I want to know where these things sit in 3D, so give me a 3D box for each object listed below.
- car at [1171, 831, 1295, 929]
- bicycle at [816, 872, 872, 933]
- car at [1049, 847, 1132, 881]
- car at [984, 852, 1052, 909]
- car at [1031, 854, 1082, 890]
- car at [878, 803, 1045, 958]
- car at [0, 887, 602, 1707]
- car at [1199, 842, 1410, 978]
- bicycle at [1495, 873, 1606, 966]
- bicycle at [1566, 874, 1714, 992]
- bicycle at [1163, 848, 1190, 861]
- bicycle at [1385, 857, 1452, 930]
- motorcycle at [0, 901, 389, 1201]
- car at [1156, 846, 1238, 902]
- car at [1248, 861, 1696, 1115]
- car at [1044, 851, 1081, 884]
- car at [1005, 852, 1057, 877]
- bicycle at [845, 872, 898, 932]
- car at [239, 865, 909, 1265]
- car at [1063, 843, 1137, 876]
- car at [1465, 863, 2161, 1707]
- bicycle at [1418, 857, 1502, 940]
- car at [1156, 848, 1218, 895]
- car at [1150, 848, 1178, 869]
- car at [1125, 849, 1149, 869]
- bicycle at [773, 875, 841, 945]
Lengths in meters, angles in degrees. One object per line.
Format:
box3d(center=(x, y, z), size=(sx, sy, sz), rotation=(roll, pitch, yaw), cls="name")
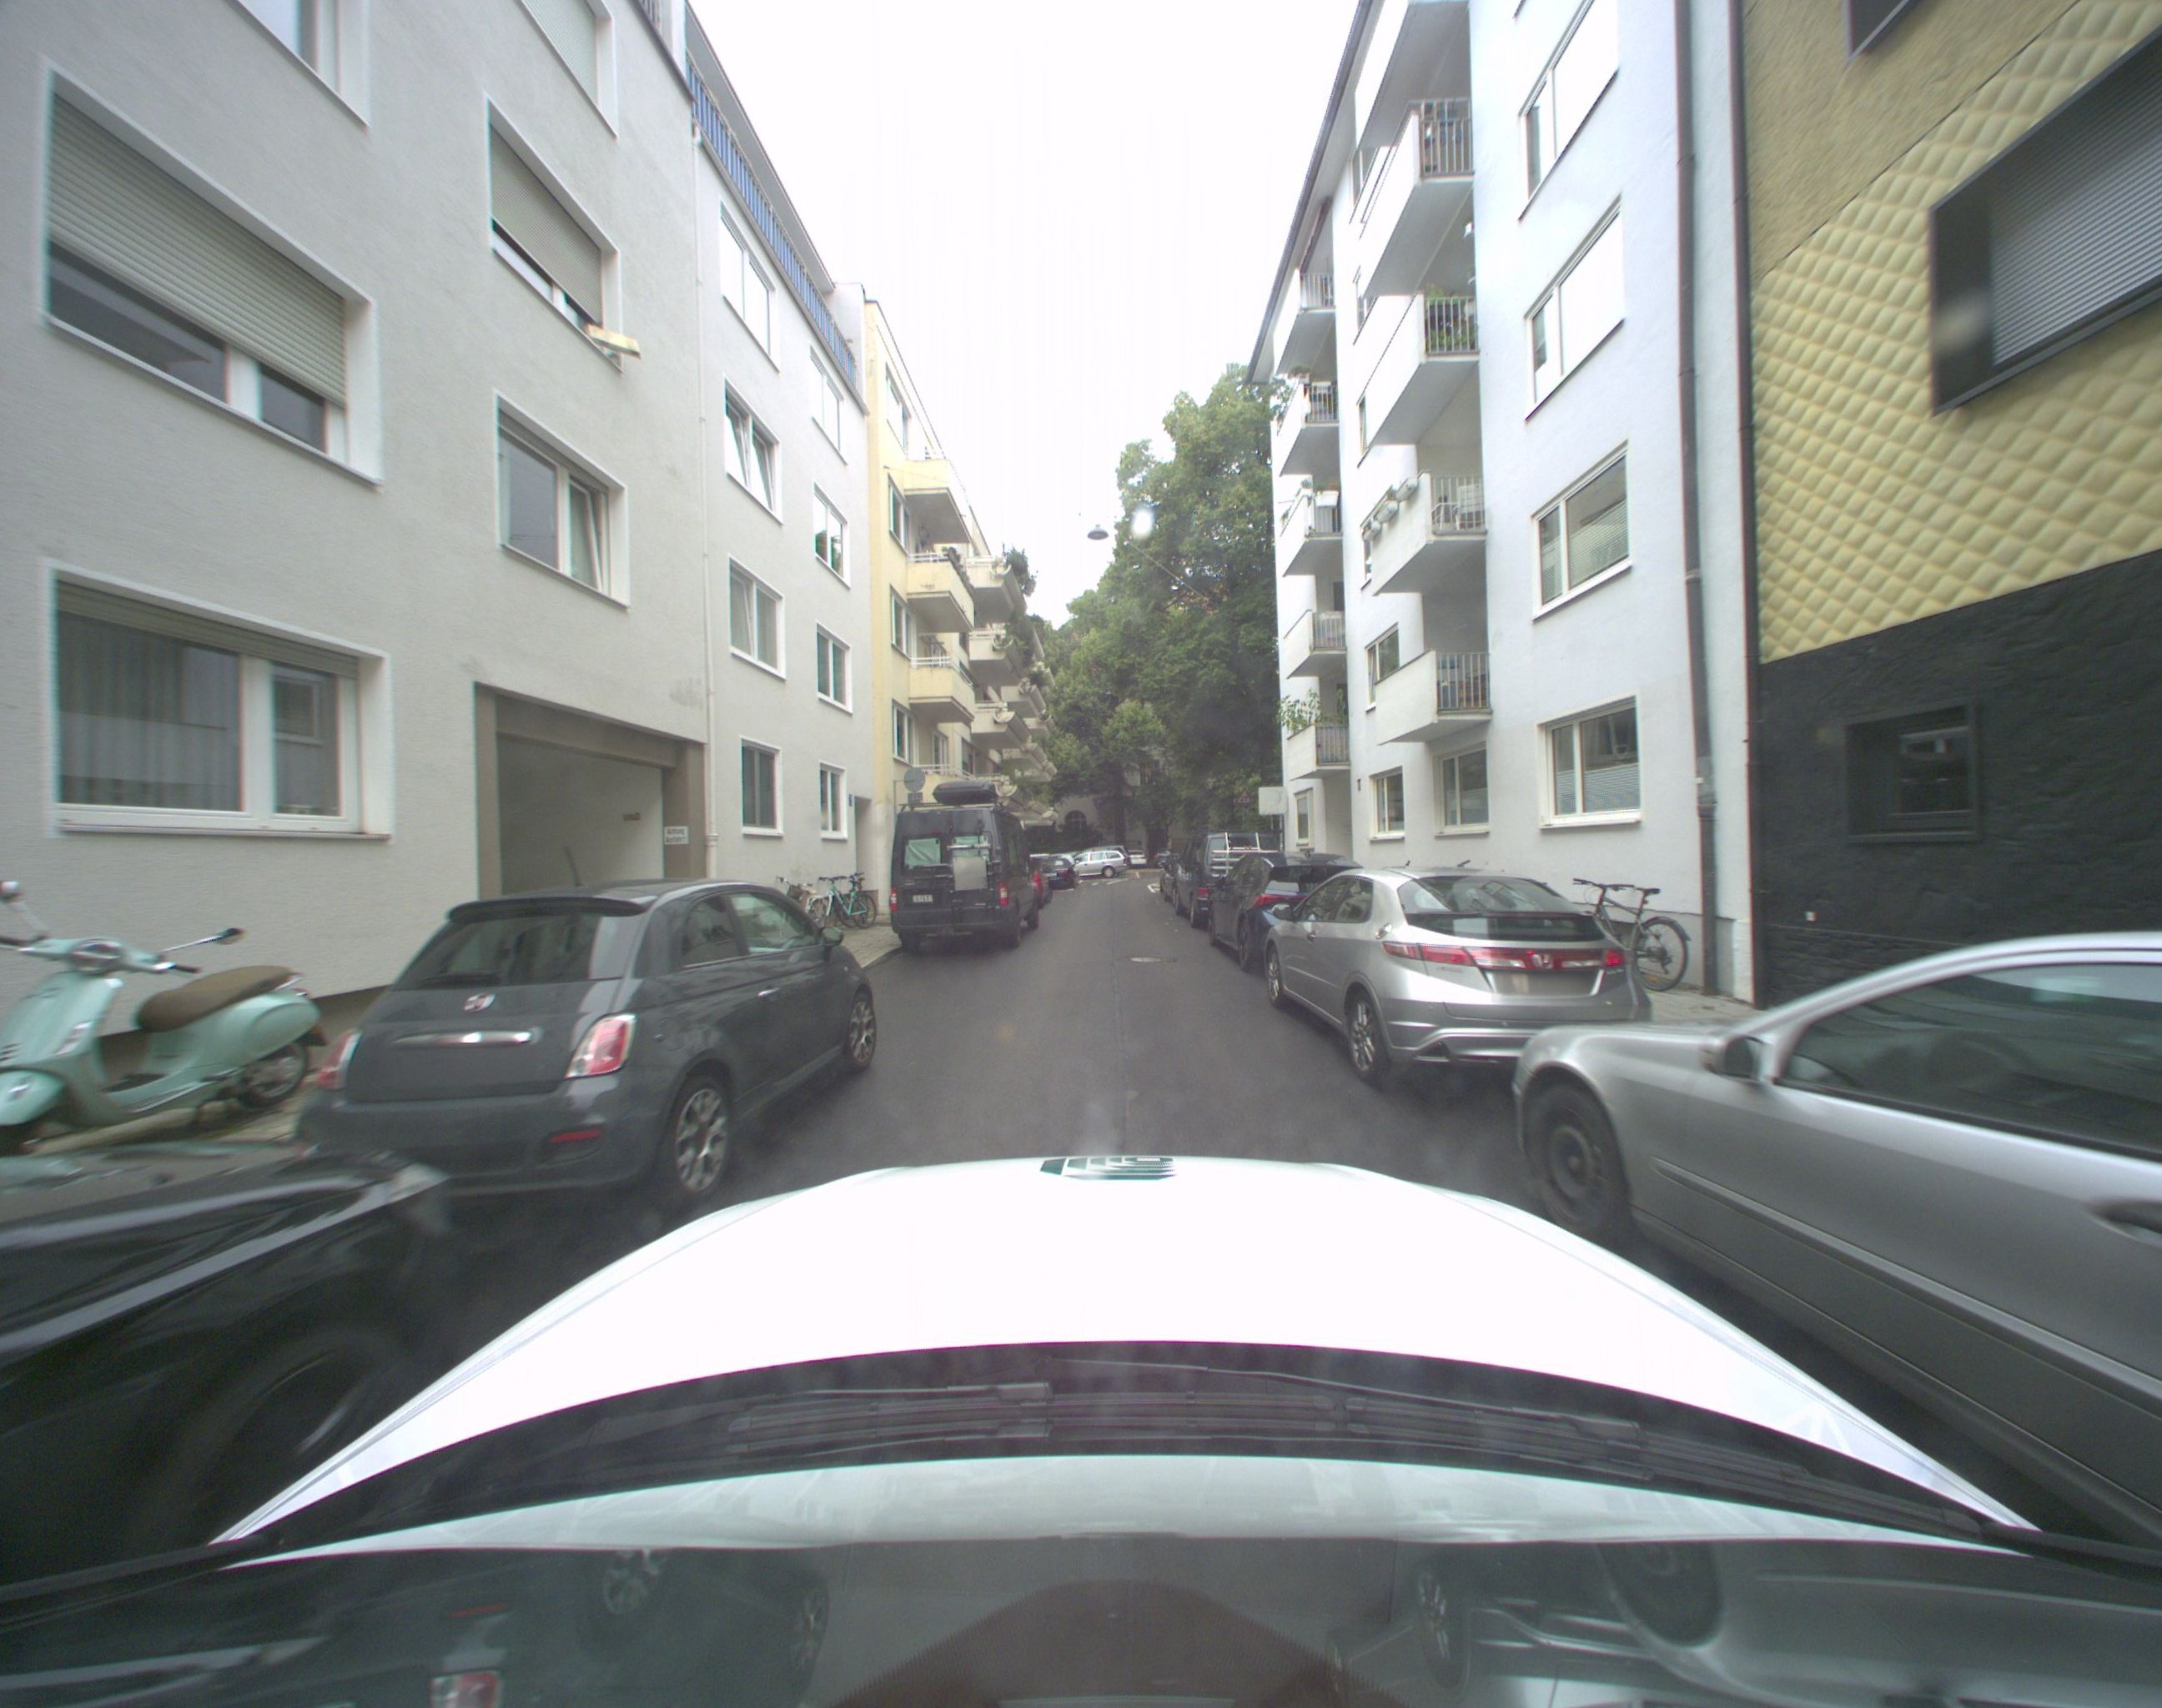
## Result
box3d(center=(3.133, 0.490, 17.741), size=(1.868, 1.791, 4.783), rotation=(-2, 0, 1), cls="car")
box3d(center=(-4.705, 0.938, 16.272), size=(0.461, 1.097, 1.872), rotation=(-1, 0, 3), cls="bicycle")
box3d(center=(0.518, 0.514, 43.393), size=(4.213, 1.455, 1.722), rotation=(-4, 0, 1), cls="car")
box3d(center=(-1.781, 0.719, 24.087), size=(1.614, 1.496, 3.709), rotation=(-2, 0, 1), cls="car")
box3d(center=(-0.949, 0.719, 34.298), size=(1.790, 1.278, 4.618), rotation=(-4, 0, 2), cls="car")
box3d(center=(-1.968, 0.415, 15.308), size=(2.010, 2.279, 5.393), rotation=(-3, 0, 2), cls="car")
box3d(center=(-2.388, 0.830, 0.381), size=(1.795, 1.417, 4.226), rotation=(-2, 0, 0), cls="car")
box3d(center=(2.995, 0.672, 12.000), size=(1.899, 1.554, 4.626), rotation=(-2, 0, 1), cls="car")
box3d(center=(5.672, 0.756, 9.937), size=(0.475, 1.002, 1.552), rotation=(-1, 0, 1), cls="bicycle")
box3d(center=(5.643, 0.753, 8.325), size=(0.475, 1.048, 1.522), rotation=(-1, 0, 1), cls="bicycle")
box3d(center=(7.975, 0.042, 68.233), size=(2.207, 1.115, 0.580), rotation=(-1, 0, 30), cls="bicycle")
box3d(center=(5.740, 0.646, 13.931), size=(0.568, 1.151, 1.431), rotation=(-1, 0, 1), cls="bicycle")
box3d(center=(-4.873, 0.917, 4.478), size=(0.598, 1.203, 1.856), rotation=(-2, 0, -3), cls="motorcycle")
box3d(center=(3.268, 0.527, 23.619), size=(1.827, 1.419, 4.059), rotation=(-2, 0, 1), cls="car")
box3d(center=(2.744, 0.809, 6.917), size=(1.754, 1.431, 4.260), rotation=(1, 0, 0), cls="car")
box3d(center=(-0.875, 0.623, 39.602), size=(1.555, 1.421, 3.834), rotation=(-3, 0, 1), cls="car")
box3d(center=(-3.407, 0.694, 55.253), size=(3.297, 1.631, 1.501), rotation=(-1, 0, -18), cls="car")
box3d(center=(-4.219, 0.932, 16.510), size=(0.461, 1.097, 1.872), rotation=(-1, 0, 3), cls="bicycle")
box3d(center=(-2.425, 0.870, 5.106), size=(1.605, 1.446, 3.746), rotation=(-4, 0, 3), cls="car")
box3d(center=(1.129, 0.324, 48.634), size=(4.206, 1.684, 1.902), rotation=(-4, 0, 0), cls="car")
box3d(center=(2.732, 0.779, 1.847), size=(1.729, 1.429, 4.202), rotation=(-2, 0, 0), cls="car")
box3d(center=(5.719, 0.636, 12.377), size=(0.568, 1.151, 1.563), rotation=(-1, 0, 1), cls="bicycle")
box3d(center=(3.570, 0.541, 28.022), size=(1.736, 1.441, 4.003), rotation=(-2, 0, 3), cls="car")
box3d(center=(6.080, 0.285, 59.414), size=(1.781, 1.431, 4.010), rotation=(-1, 0, 9), cls="car")
box3d(center=(4.183, 0.327, 60.556), size=(1.711, 1.431, 4.005), rotation=(-1, 0, 4), cls="car")
box3d(center=(-4.796, 0.953, 14.369), size=(0.461, 1.097, 1.872), rotation=(-1, 0, 3), cls="bicycle")
